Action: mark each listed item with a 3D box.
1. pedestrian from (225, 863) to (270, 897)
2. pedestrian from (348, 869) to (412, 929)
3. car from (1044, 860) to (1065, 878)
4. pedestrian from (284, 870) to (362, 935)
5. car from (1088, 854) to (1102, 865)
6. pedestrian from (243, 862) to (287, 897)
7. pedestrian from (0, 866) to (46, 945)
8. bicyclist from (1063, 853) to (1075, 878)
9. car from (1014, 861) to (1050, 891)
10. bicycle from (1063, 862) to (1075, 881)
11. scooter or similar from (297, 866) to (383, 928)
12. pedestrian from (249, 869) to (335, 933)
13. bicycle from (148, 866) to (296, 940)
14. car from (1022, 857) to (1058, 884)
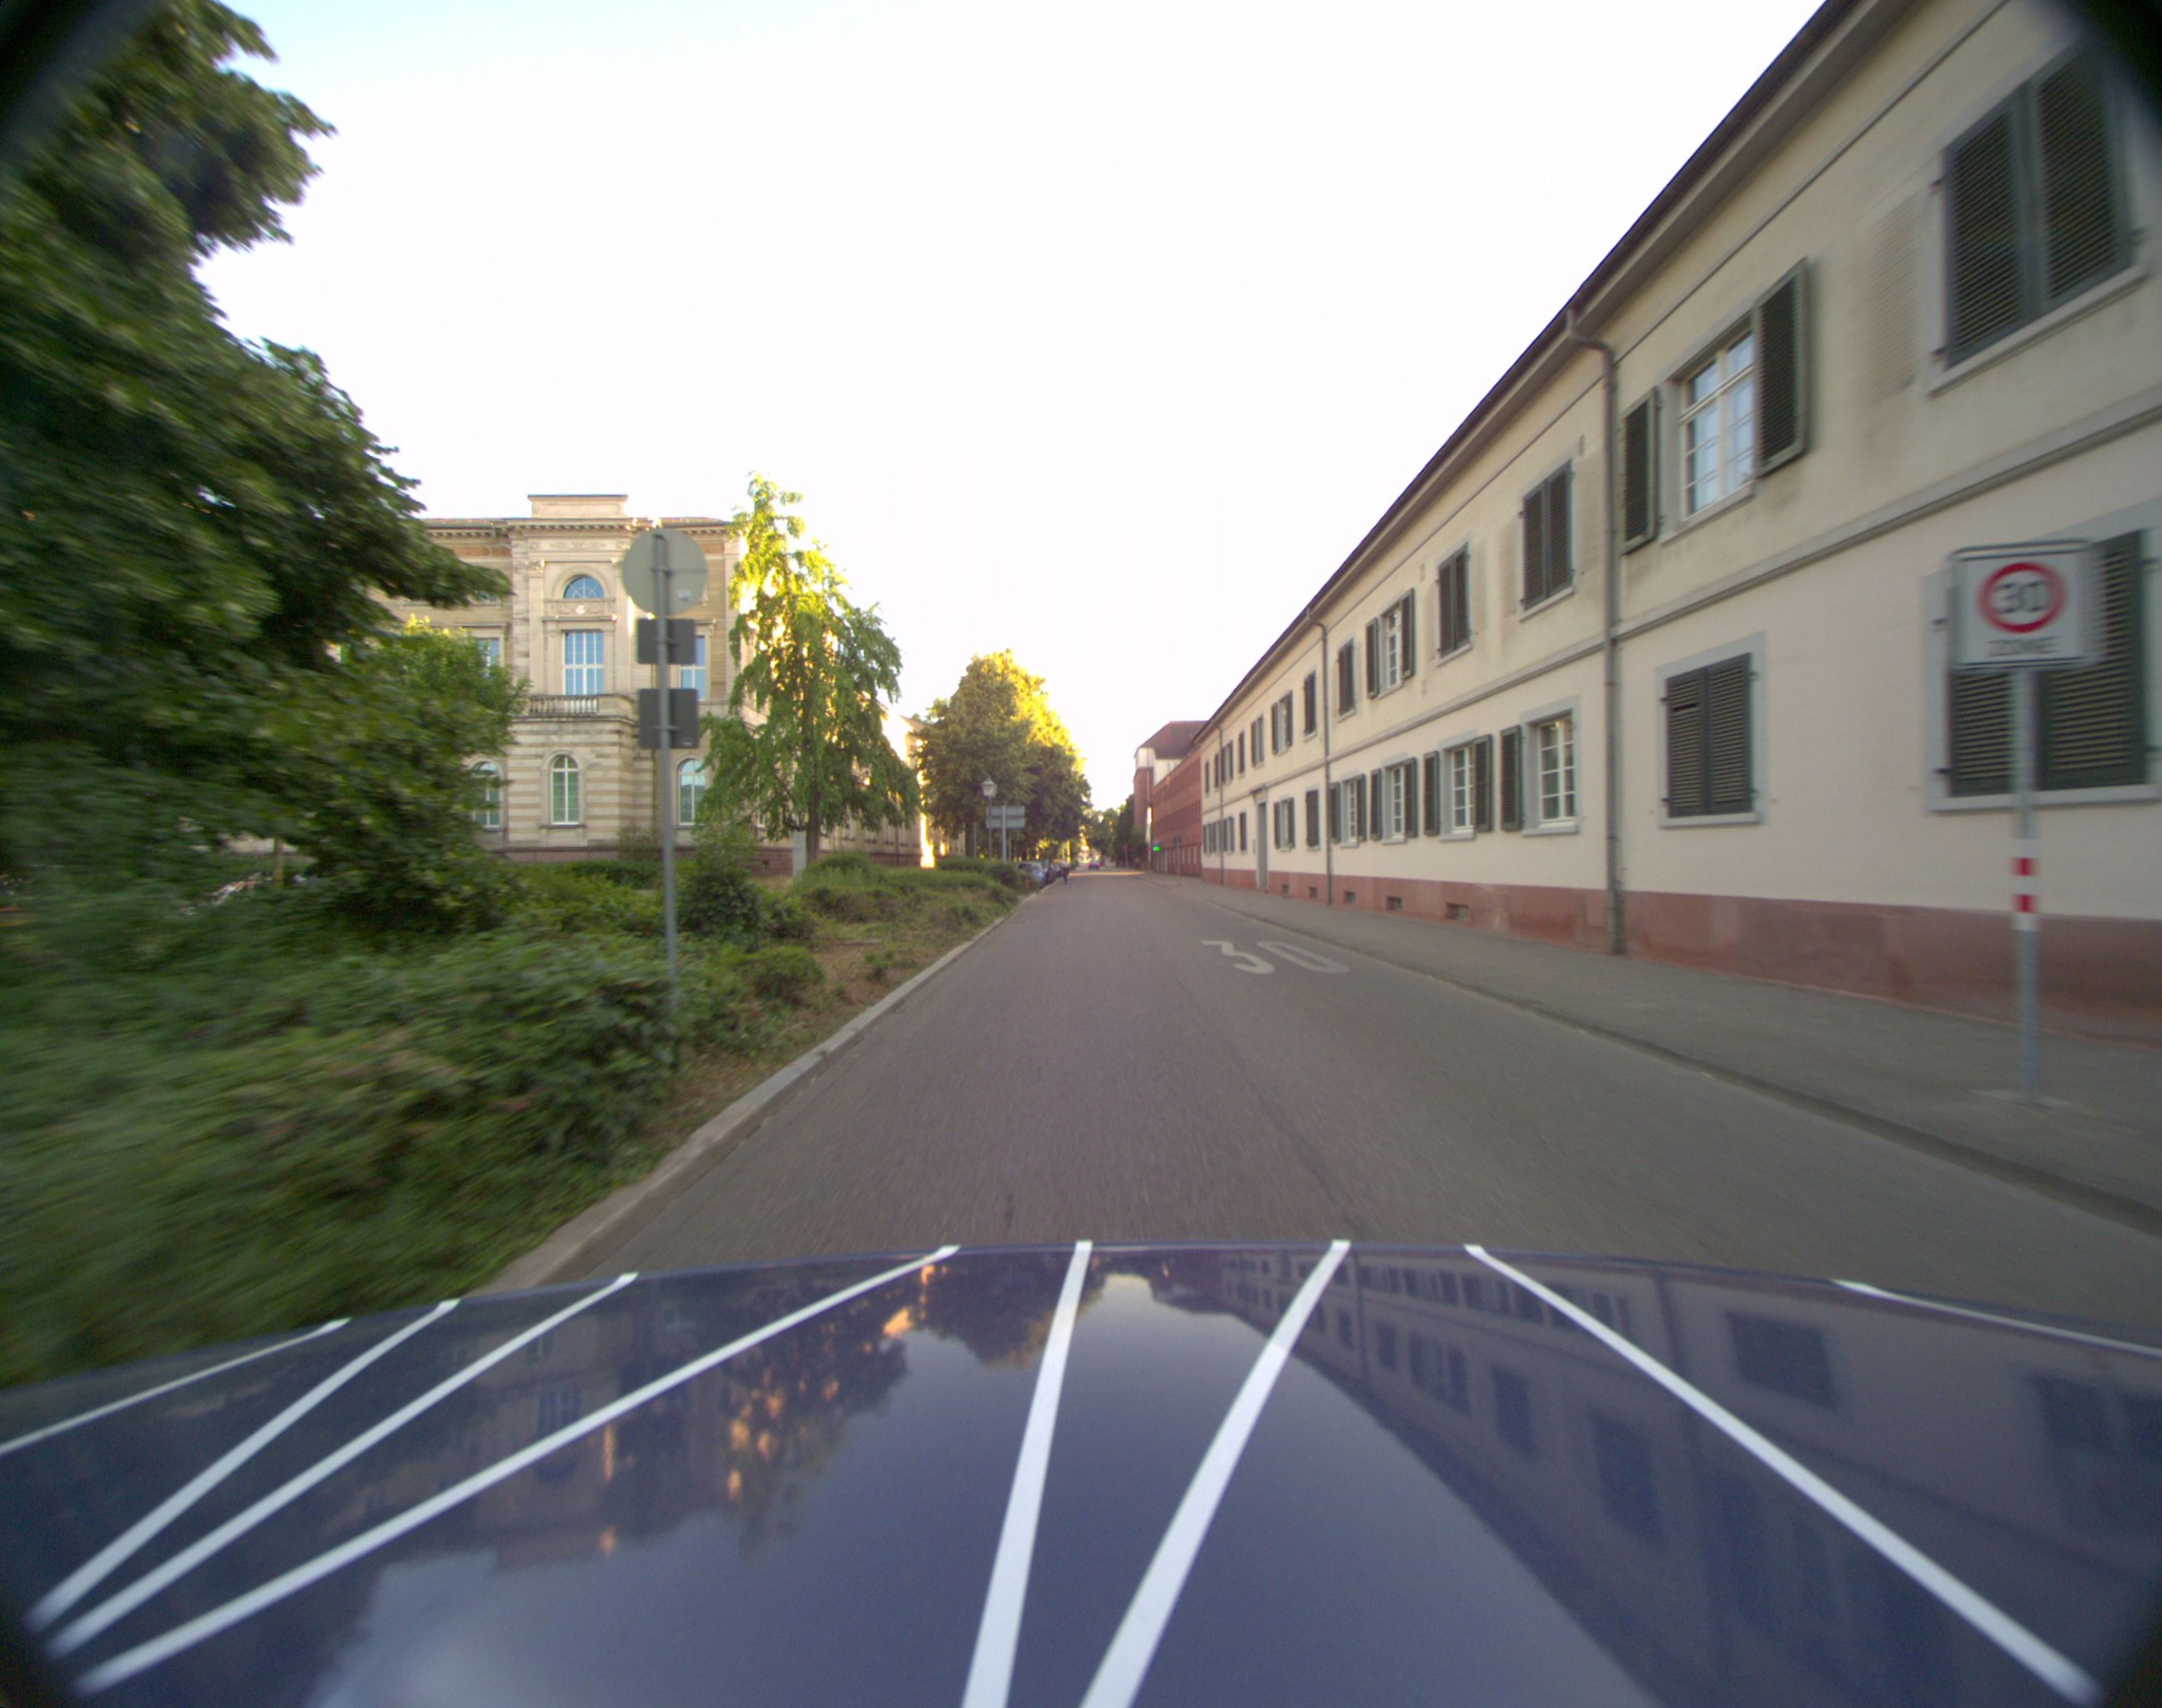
[{"bbox_3d":[-34.584,1.078,31.540,0.695,1.389,1.045,0,0,1],"label":"pedestrian"},{"bbox_3d":[-14.567,0.914,15.799,0.663,1.184,0.797,0,0,28],"label":"pedestrian"},{"bbox_3d":[-2.445,1.403,71.207,1.739,1.498,4.522,3,0,0],"label":"car"},{"bbox_3d":[-14.377,0.899,14.433,0.724,1.184,0.747,0,0,4],"label":"pedestrian"},{"bbox_3d":[2.537,1.019,138.677,1.999,1.863,5.109,-1,-2,-3],"label":"car"},{"bbox_3d":[-33.702,1.046,31.392,0.695,1.389,1.045,0,0,1],"label":"pedestrian"},{"bbox_3d":[-18.972,0.893,13.129,0.920,1.339,0.884,0,0,-15],"label":"pedestrian"},{"bbox_3d":[-0.775,0.749,49.694,0.753,1.603,1.038,0,0,-2],"label":"bicyclist"},{"bbox_3d":[-2.740,1.192,43.043,1.728,1.479,4.610,3,0,-1],"label":"car"},{"bbox_3d":[-0.798,1.151,49.673,0.753,1.245,2.210,0,-1,-2],"label":"bicycle"},{"bbox_3d":[-15.383,0.880,15.791,1.221,1.238,0.418,0,0,-16],"label":"scooter or similar"},{"bbox_3d":[-15.150,0.894,14.607,0.808,1.184,0.789,0,0,4],"label":"pedestrian"},{"bbox_3d":[-16.316,0.882,14.523,0.621,1.292,2.018,0,0,-4],"label":"bicycle"},{"bbox_3d":[-2.582,1.001,48.790,1.728,1.642,4.714,0,0,4],"label":"car"}]
